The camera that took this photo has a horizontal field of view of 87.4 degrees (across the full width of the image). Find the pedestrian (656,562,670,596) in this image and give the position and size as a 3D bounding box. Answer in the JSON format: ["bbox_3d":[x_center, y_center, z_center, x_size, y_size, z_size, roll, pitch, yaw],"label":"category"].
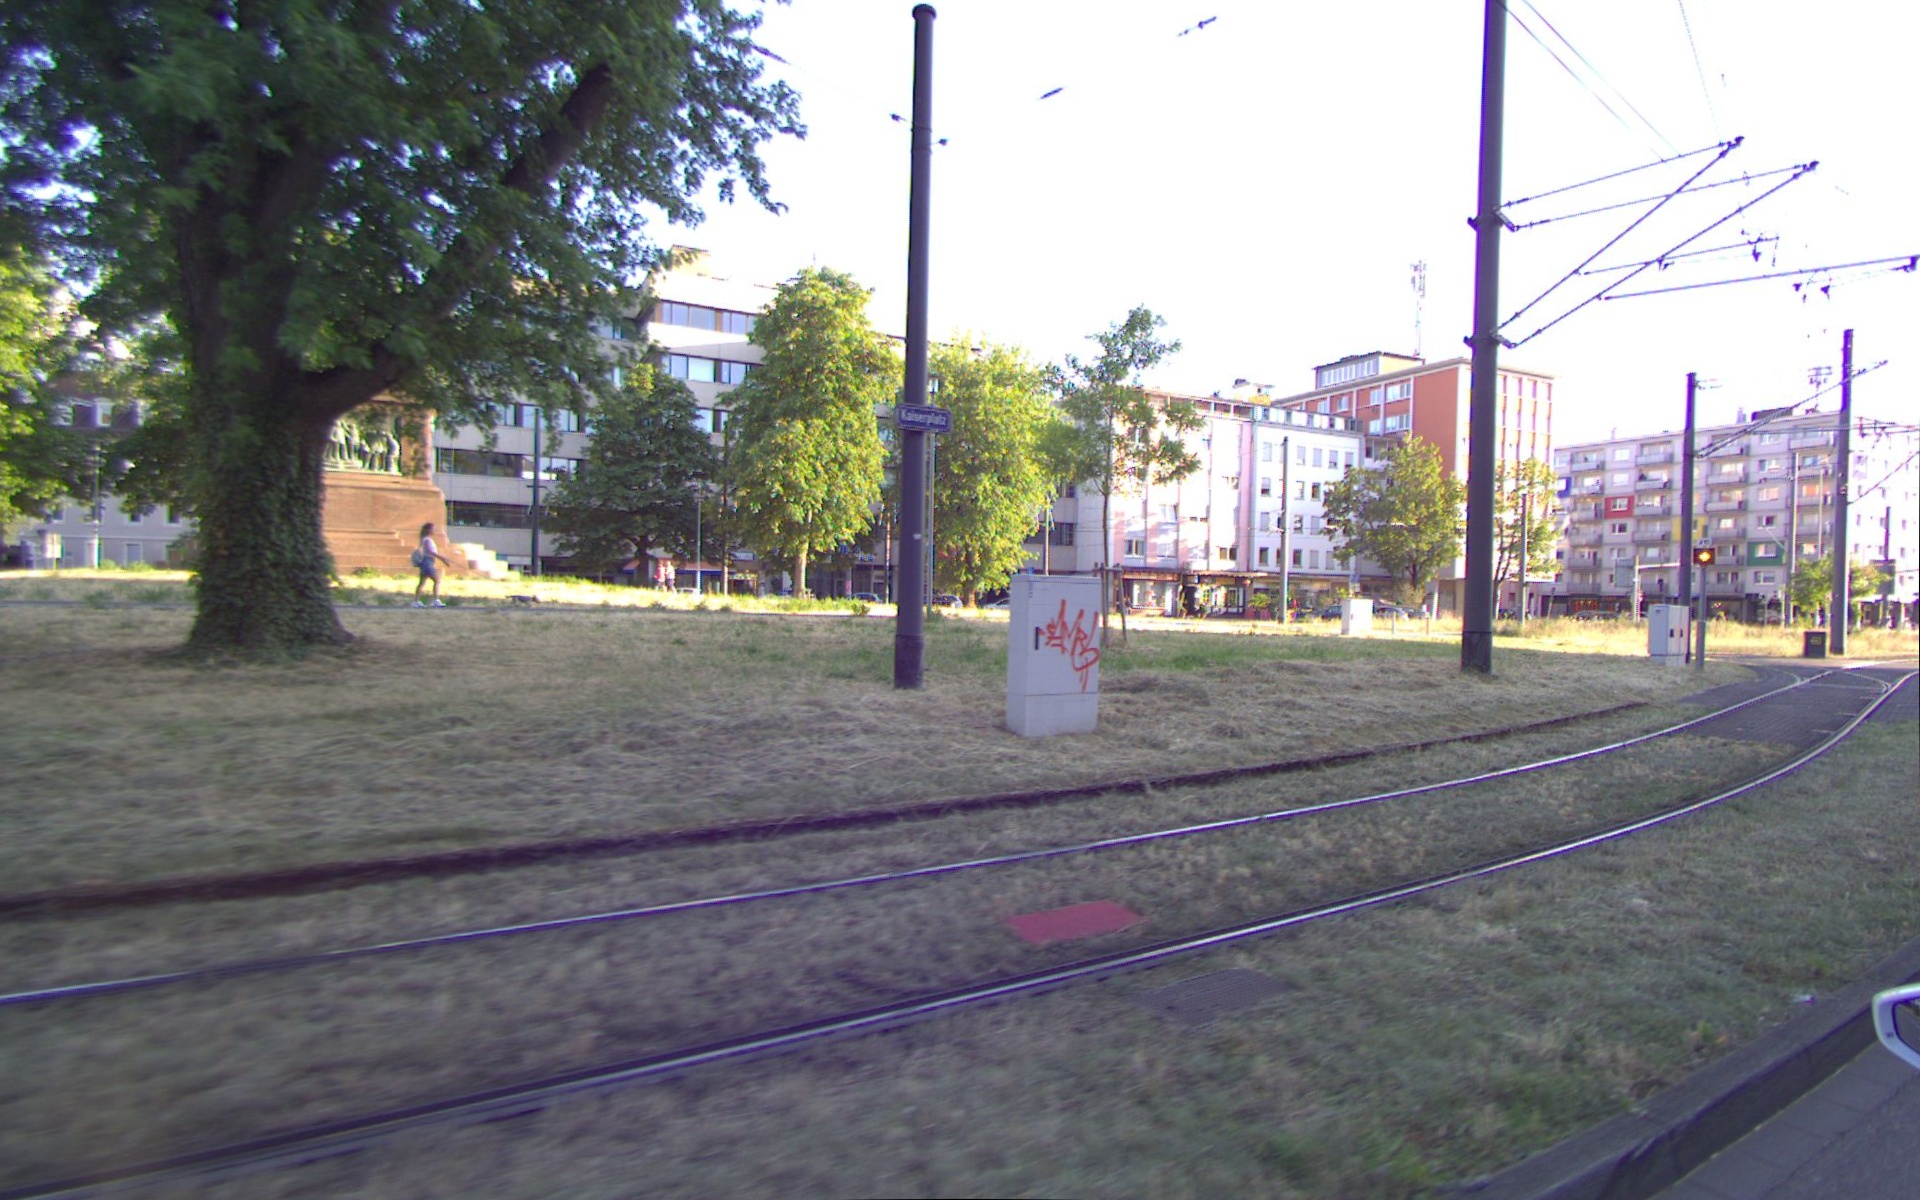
[{"bbox_3d":[-13.380,-0.941,45.237,0.546,1.532,0.451,0,1,-24],"label":"pedestrian"}]

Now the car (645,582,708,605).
[{"bbox_3d":[-20.020,-0.468,70.988,3.921,1.601,1.797,0,1,0],"label":"car"}]

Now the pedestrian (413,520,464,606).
[{"bbox_3d":[-10.610,-0.737,20.427,0.829,1.712,0.471,1,0,-41],"label":"pedestrian"}]

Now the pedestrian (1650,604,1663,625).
[{"bbox_3d":[63.658,1.313,91.783,0.727,1.877,0.702,0,1,-26],"label":"pedestrian"}]

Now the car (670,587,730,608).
[{"bbox_3d":[-19.327,-0.182,74.833,3.990,1.577,1.865,0,1,-3],"label":"car"}]

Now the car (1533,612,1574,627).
[{"bbox_3d":[69.813,2.240,118.227,1.783,1.606,3.845,0,1,-31],"label":"car"}]

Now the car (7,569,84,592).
[{"bbox_3d":[-66.241,-1.391,72.799,3.921,1.601,1.797,0,1,0],"label":"car"}]

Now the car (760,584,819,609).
[{"bbox_3d":[-12.644,-0.276,74.451,4.128,1.819,1.759,0,1,-3],"label":"car"}]

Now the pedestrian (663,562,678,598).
[{"bbox_3d":[-13.300,-0.913,46.150,0.546,1.602,0.616,0,1,-24],"label":"pedestrian"}]

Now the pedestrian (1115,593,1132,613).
[{"bbox_3d":[12.754,0.222,78.373,0.843,1.548,1.113,0,1,-28],"label":"pedestrian"}]

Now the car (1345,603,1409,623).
[{"bbox_3d":[29.790,0.920,71.818,3.922,1.409,1.711,0,1,-2],"label":"car"}]

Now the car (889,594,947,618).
[{"bbox_3d":[-2.963,0.411,70.173,3.990,1.577,1.865,0,1,-3],"label":"car"}]

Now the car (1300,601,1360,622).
[{"bbox_3d":[28.033,0.827,76.125,3.923,1.547,1.759,0,1,-4],"label":"car"}]

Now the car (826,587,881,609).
[{"bbox_3d":[-7.855,-0.164,74.199,3.923,1.573,1.759,0,1,-3],"label":"car"}]

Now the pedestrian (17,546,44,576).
[{"bbox_3d":[-53.306,-2.237,57.588,0.784,1.724,0.800,0,1,-1],"label":"pedestrian"}]

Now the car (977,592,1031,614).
[{"bbox_3d":[3.222,0.229,74.614,3.921,1.573,1.760,0,1,0],"label":"car"}]
